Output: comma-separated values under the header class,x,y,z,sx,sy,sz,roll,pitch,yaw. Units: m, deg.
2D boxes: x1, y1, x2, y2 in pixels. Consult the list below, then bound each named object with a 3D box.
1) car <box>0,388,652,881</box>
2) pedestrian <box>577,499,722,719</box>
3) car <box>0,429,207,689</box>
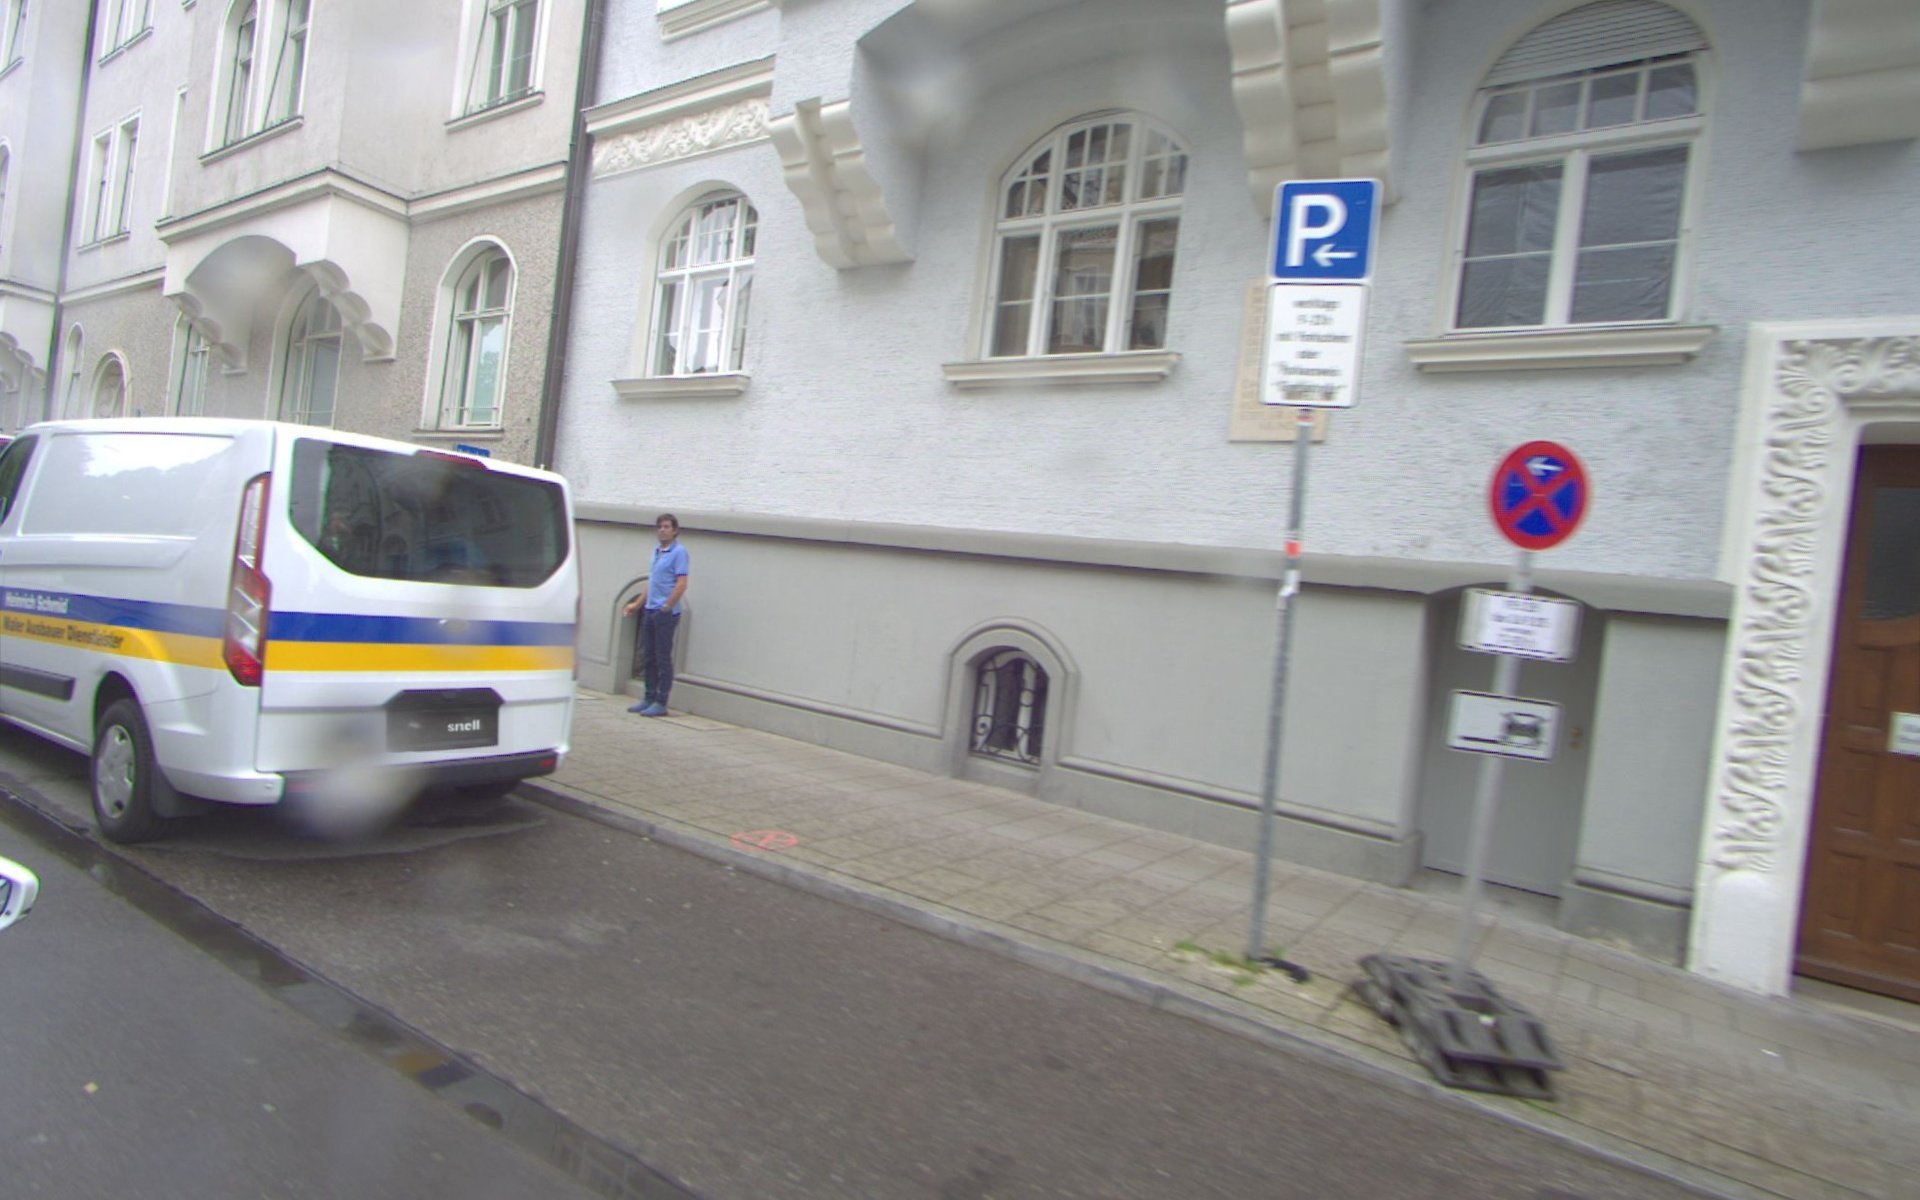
class,x,y,z,sx,sy,sz,roll,pitch,yaw
car,-4.367,-0.023,6.050,4.797,1.942,1.996,7,0,32
pedestrian,-2.892,0.092,9.391,0.734,1.927,0.851,7,1,37
car,-9.060,-0.504,9.070,4.807,1.942,1.995,7,0,33
